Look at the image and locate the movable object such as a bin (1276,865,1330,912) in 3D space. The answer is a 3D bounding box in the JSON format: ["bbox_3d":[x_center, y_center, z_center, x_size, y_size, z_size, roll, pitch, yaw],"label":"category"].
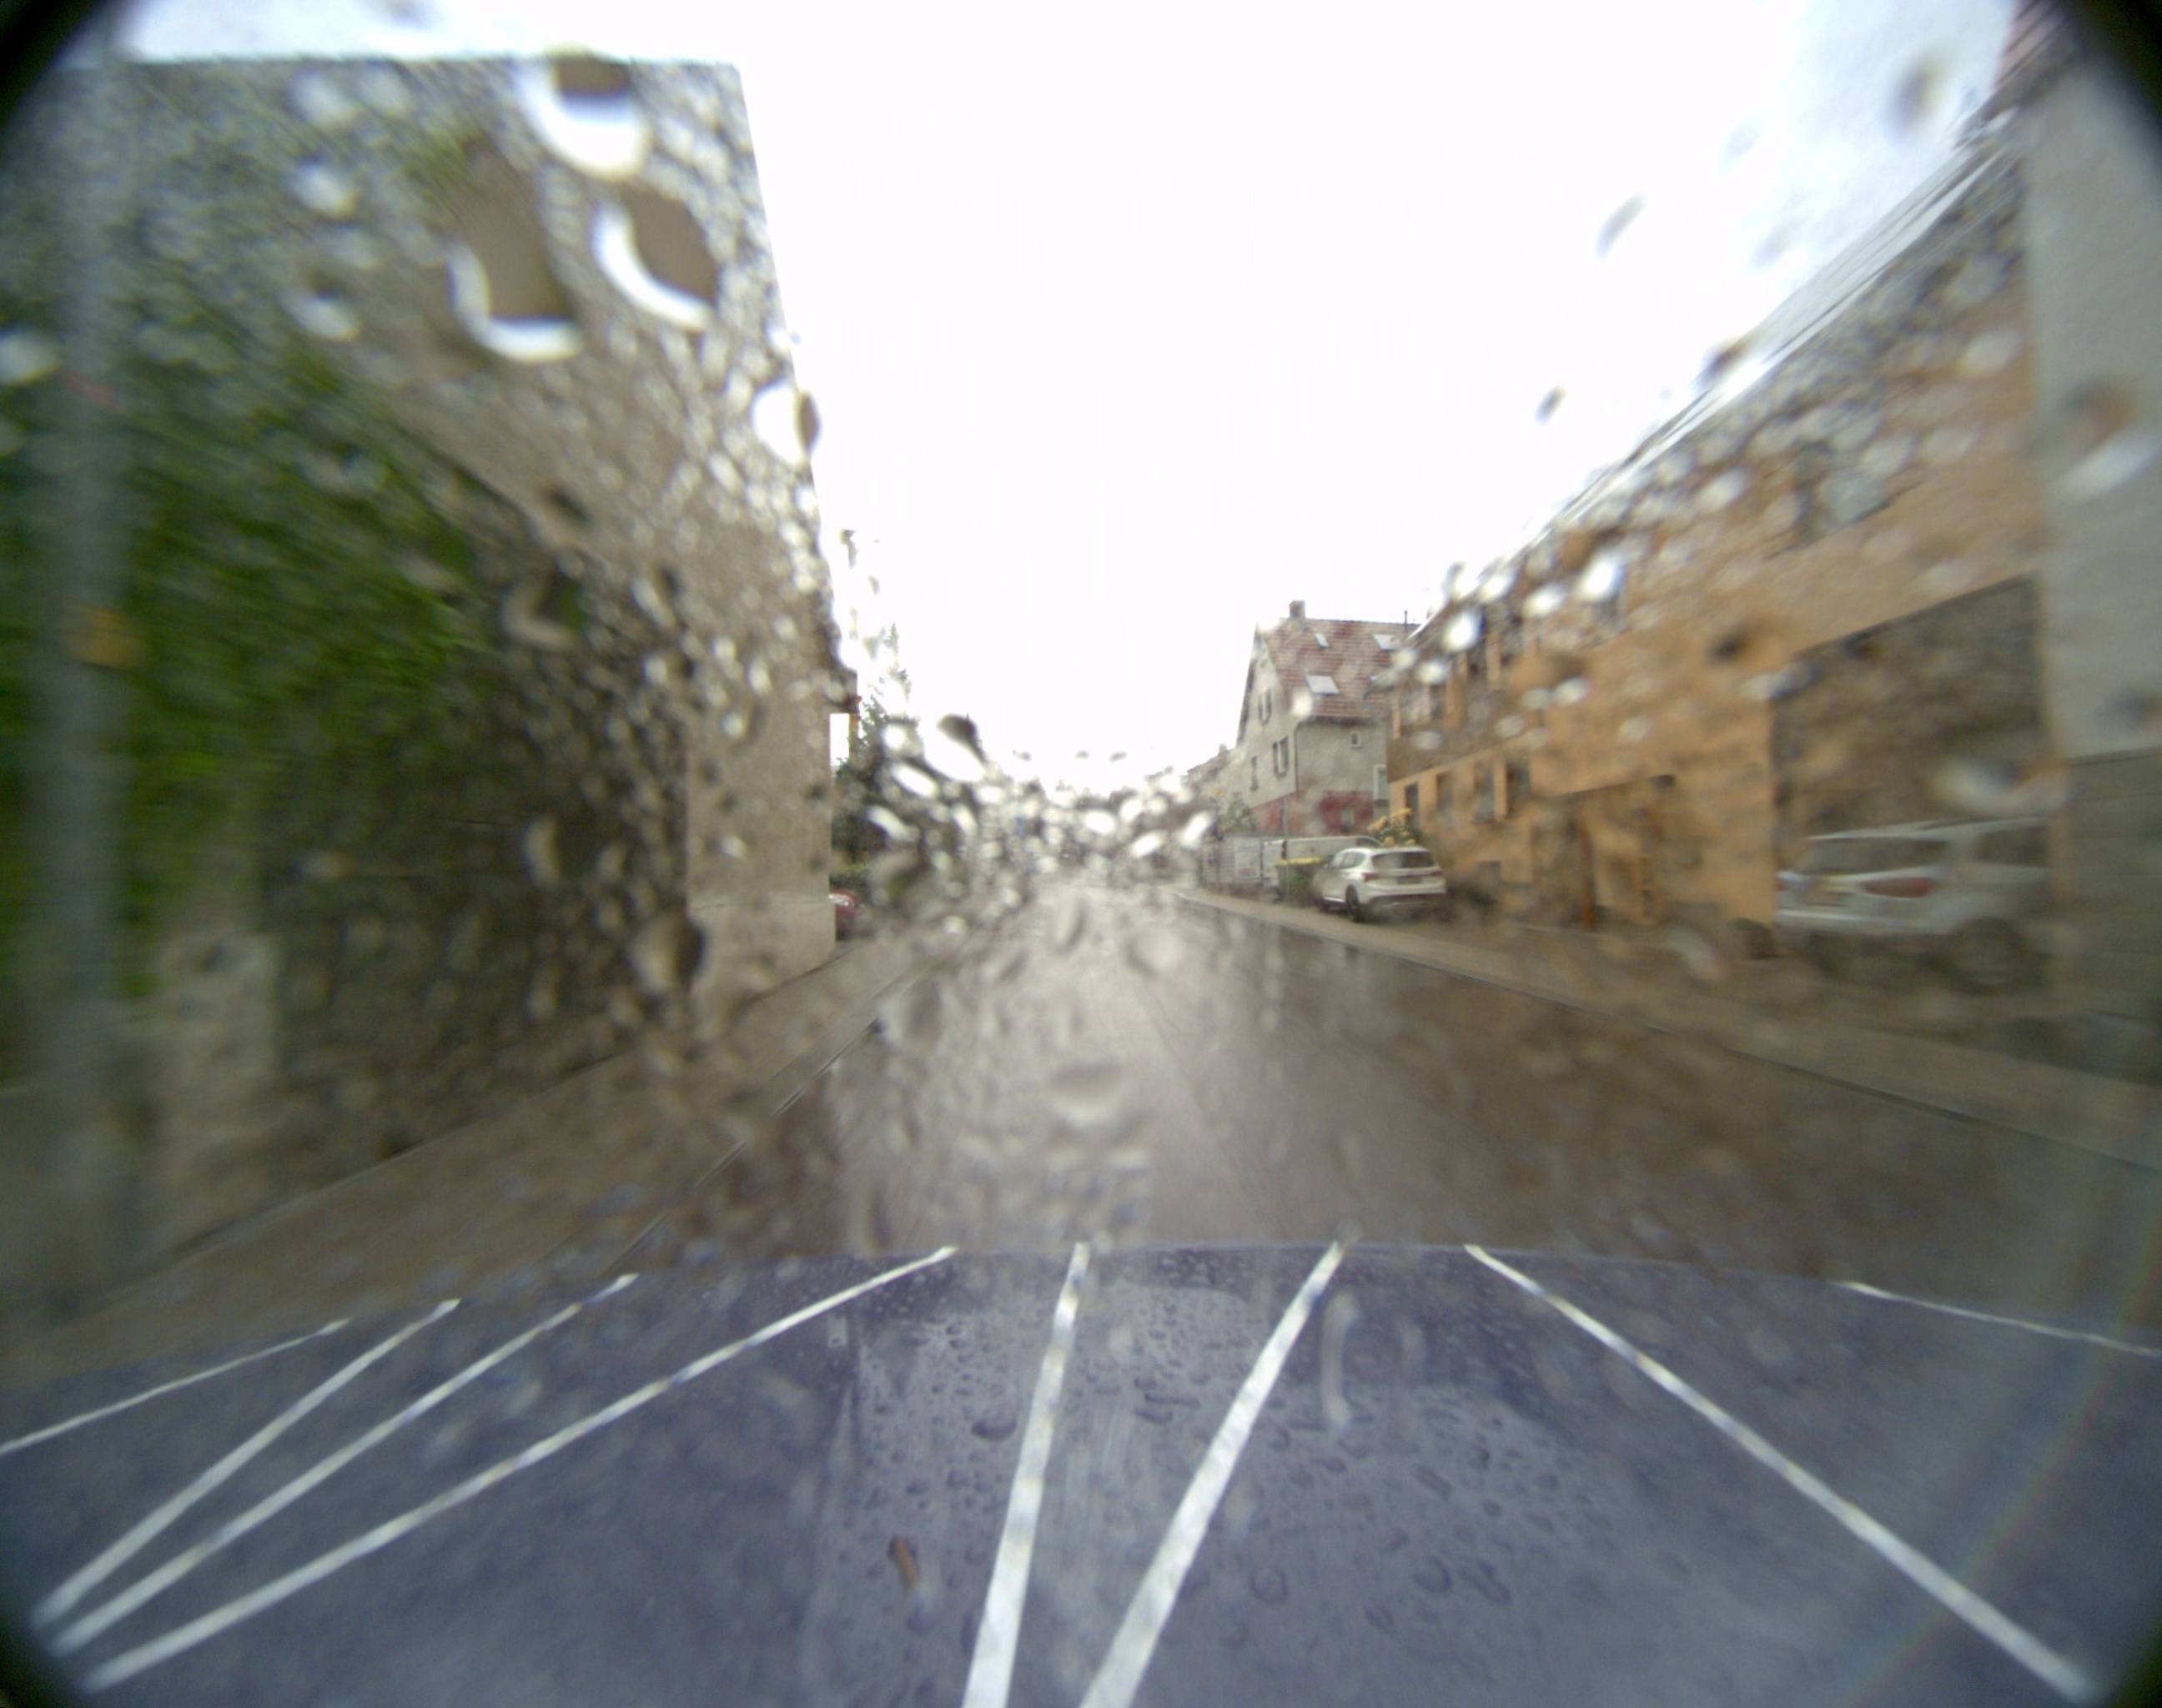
[{"bbox_3d":[6.695,1.023,23.016,1.289,1.360,0.996,-1,0,-5],"label":"movable object such as a bin"}]

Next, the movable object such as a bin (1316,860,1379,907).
[{"bbox_3d":[8.170,0.883,23.334,1.511,1.360,0.996,-2,0,-5],"label":"movable object such as a bin"}]

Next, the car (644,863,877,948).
[{"bbox_3d":[-6.633,1.041,16.100,4.121,1.558,1.796,-2,0,-4],"label":"car"}]

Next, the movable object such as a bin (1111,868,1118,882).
[{"bbox_3d":[2.677,1.656,60.095,0.522,1.020,0.414,-1,1,-1],"label":"movable object such as a bin"}]

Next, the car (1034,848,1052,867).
[{"bbox_3d":[-4.474,0.426,88.646,1.711,2.089,3.938,-2,0,-6],"label":"car"}]

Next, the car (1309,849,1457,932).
[{"bbox_3d":[6.998,0.779,18.157,1.818,1.696,4.618,-1,0,2],"label":"car"}]

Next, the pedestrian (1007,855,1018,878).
[{"bbox_3d":[-4.590,0.836,50.894,0.656,1.571,0.436,0,1,-2],"label":"pedestrian"}]

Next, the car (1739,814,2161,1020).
[{"bbox_3d":[9.712,0.550,7.927,3.997,1.660,1.878,-4,0,-1],"label":"car"}]

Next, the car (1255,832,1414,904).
[{"bbox_3d":[8.411,0.474,25.406,4.523,1.967,1.999,-4,-1,-10],"label":"car"}]

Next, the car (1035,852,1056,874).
[{"bbox_3d":[-3.346,0.834,72.399,1.827,1.964,4.516,-1,0,-2],"label":"car"}]

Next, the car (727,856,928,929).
[{"bbox_3d":[-6.019,0.890,18.434,4.228,1.639,1.903,1,0,0],"label":"car"}]
